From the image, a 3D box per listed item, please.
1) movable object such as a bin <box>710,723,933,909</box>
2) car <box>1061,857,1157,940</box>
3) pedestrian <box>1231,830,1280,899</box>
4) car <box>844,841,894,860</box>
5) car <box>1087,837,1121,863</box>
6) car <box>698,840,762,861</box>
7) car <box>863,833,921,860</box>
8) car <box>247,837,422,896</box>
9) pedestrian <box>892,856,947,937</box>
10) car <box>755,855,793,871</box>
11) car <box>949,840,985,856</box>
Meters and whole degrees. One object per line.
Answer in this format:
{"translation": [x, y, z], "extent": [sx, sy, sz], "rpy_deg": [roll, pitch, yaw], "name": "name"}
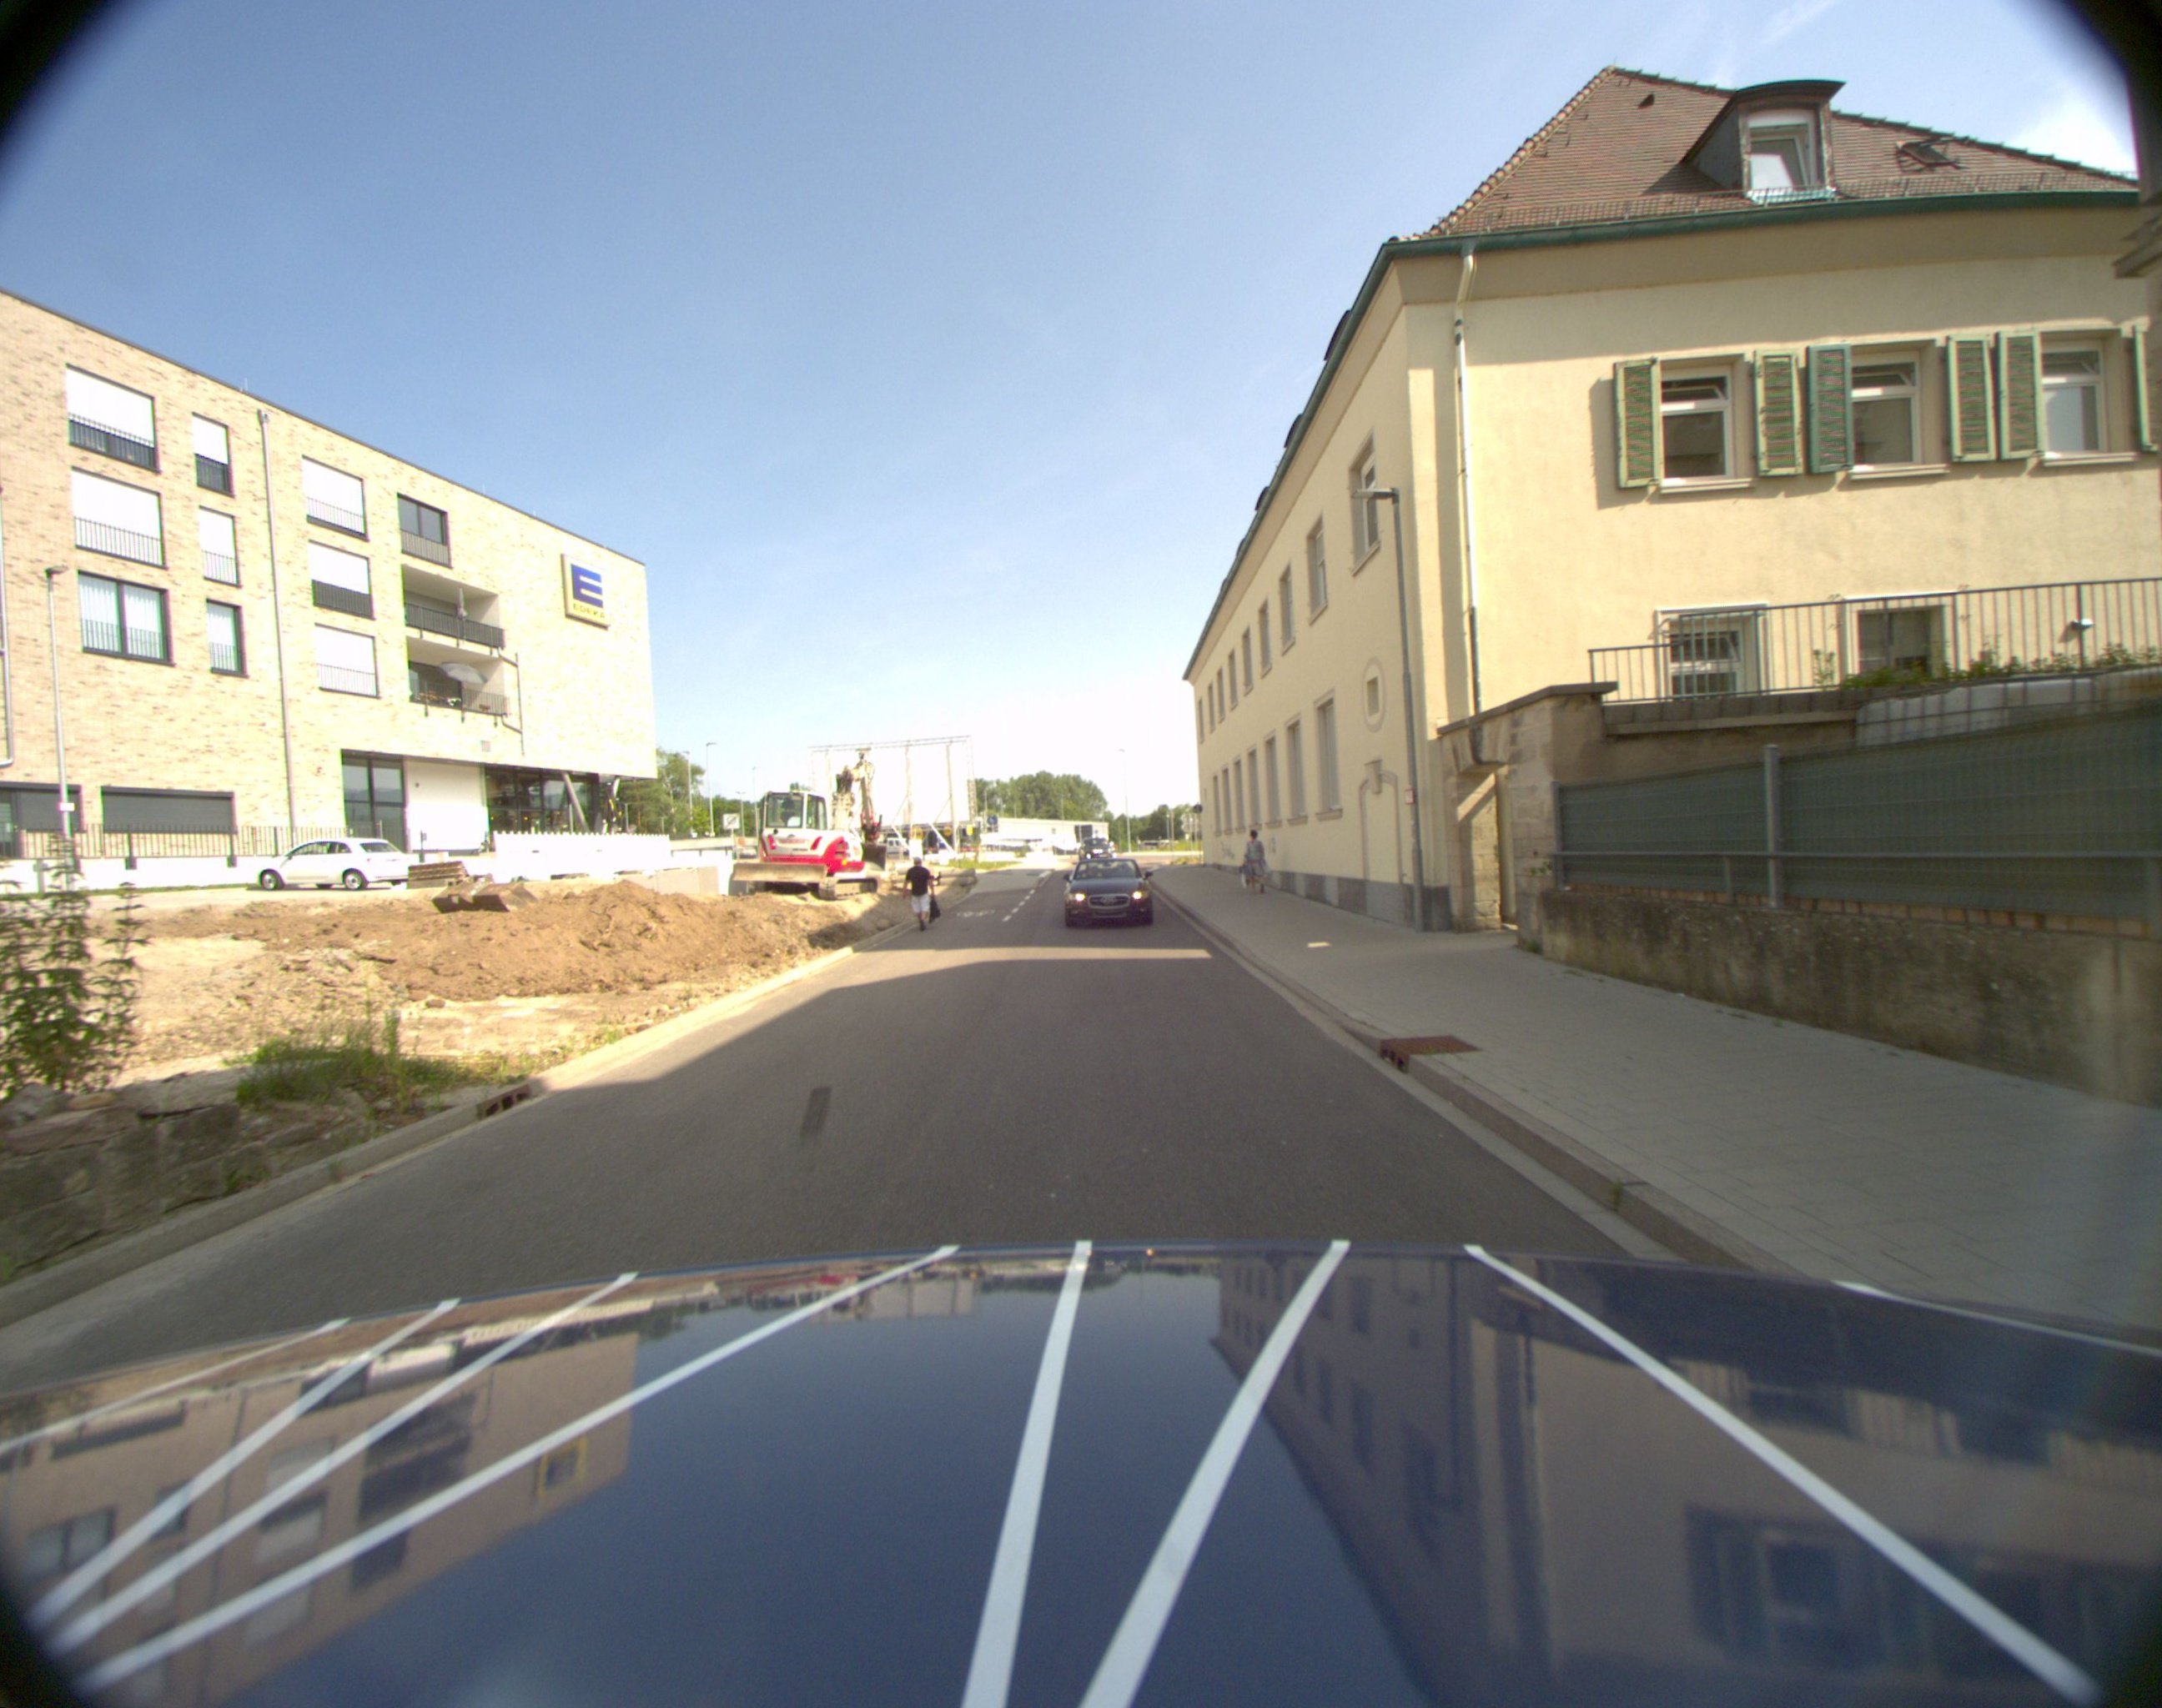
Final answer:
{"translation": [-6.402, -0.886, 20.400], "extent": [2.300, 3.832, 7.800], "rpy_deg": [-6, 1, 5], "name": "movable object such as a bin"}
{"translation": [0.570, 0.831, 16.102], "extent": [1.721, 1.315, 4.223], "rpy_deg": [-2, 2, 1], "name": "car"}
{"translation": [4.363, 0.259, 19.087], "extent": [0.960, 1.622, 0.758], "rpy_deg": [-4, 1, 1], "name": "pedestrian"}
{"translation": [-22.412, -0.359, 80.429], "extent": [4.850, 1.521, 1.925], "rpy_deg": [-6, 0, 23], "name": "car"}
{"translation": [1.455, -0.218, 46.682], "extent": [1.642, 1.384, 4.232], "rpy_deg": [-6, -1, 7], "name": "car"}
{"translation": [-29.526, -0.268, 63.898], "extent": [4.812, 1.546, 1.861], "rpy_deg": [-1, -1, 17], "name": "car"}
{"translation": [-21.325, -0.838, 85.845], "extent": [6.080, 2.369, 2.063], "rpy_deg": [-6, 0, 21], "name": "car"}
{"translation": [-21.553, 0.336, 22.028], "extent": [3.413, 1.487, 1.594], "rpy_deg": [-2, 2, 1], "name": "car"}
{"translation": [-3.562, 0.931, 16.839], "extent": [0.890, 1.673, 0.718], "rpy_deg": [-5, 2, 1], "name": "pedestrian"}
{"translation": [-34.529, 0.963, 85.596], "extent": [1.760, 1.564, 3.791], "rpy_deg": [-6, -1, 18], "name": "car"}
{"translation": [-14.218, -0.763, 94.742], "extent": [4.018, 1.564, 1.780], "rpy_deg": [-6, 0, 3], "name": "car"}
